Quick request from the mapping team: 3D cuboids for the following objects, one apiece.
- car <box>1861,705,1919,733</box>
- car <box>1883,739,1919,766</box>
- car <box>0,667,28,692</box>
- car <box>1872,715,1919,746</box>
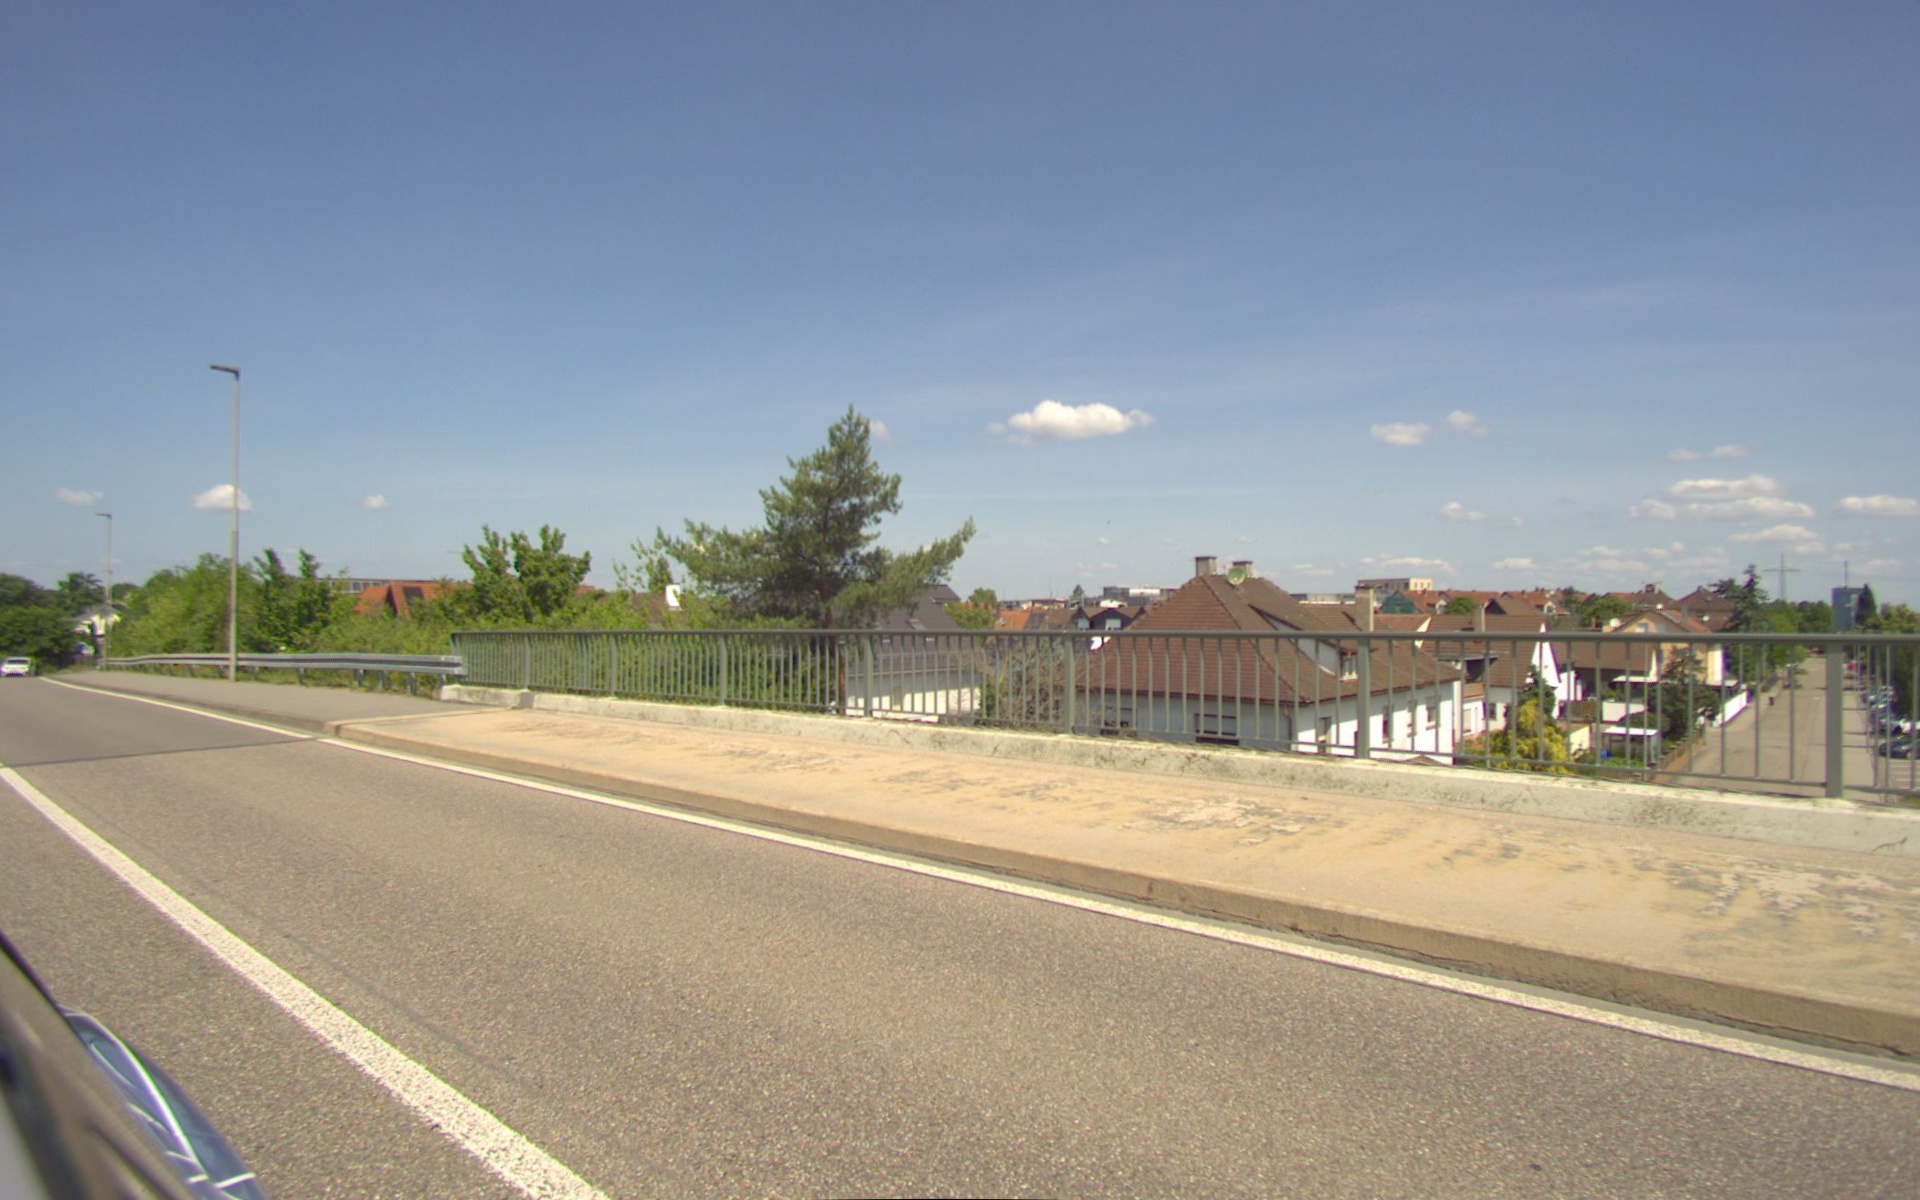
[{"bbox_3d":[79.290,10.084,85.922,3.937,2.029,2.003,-1,-1,-7],"label":"car"},{"bbox_3d":[61.044,9.692,63.936,3.619,1.453,1.846,-1,-1,26],"label":"car"},{"bbox_3d":[-80.555,6.714,85.747,4.283,1.774,2.064,0,1,44],"label":"car"},{"bbox_3d":[73.214,10.069,78.182,3.935,2.029,2.004,-1,-1,-9],"label":"car"}]
